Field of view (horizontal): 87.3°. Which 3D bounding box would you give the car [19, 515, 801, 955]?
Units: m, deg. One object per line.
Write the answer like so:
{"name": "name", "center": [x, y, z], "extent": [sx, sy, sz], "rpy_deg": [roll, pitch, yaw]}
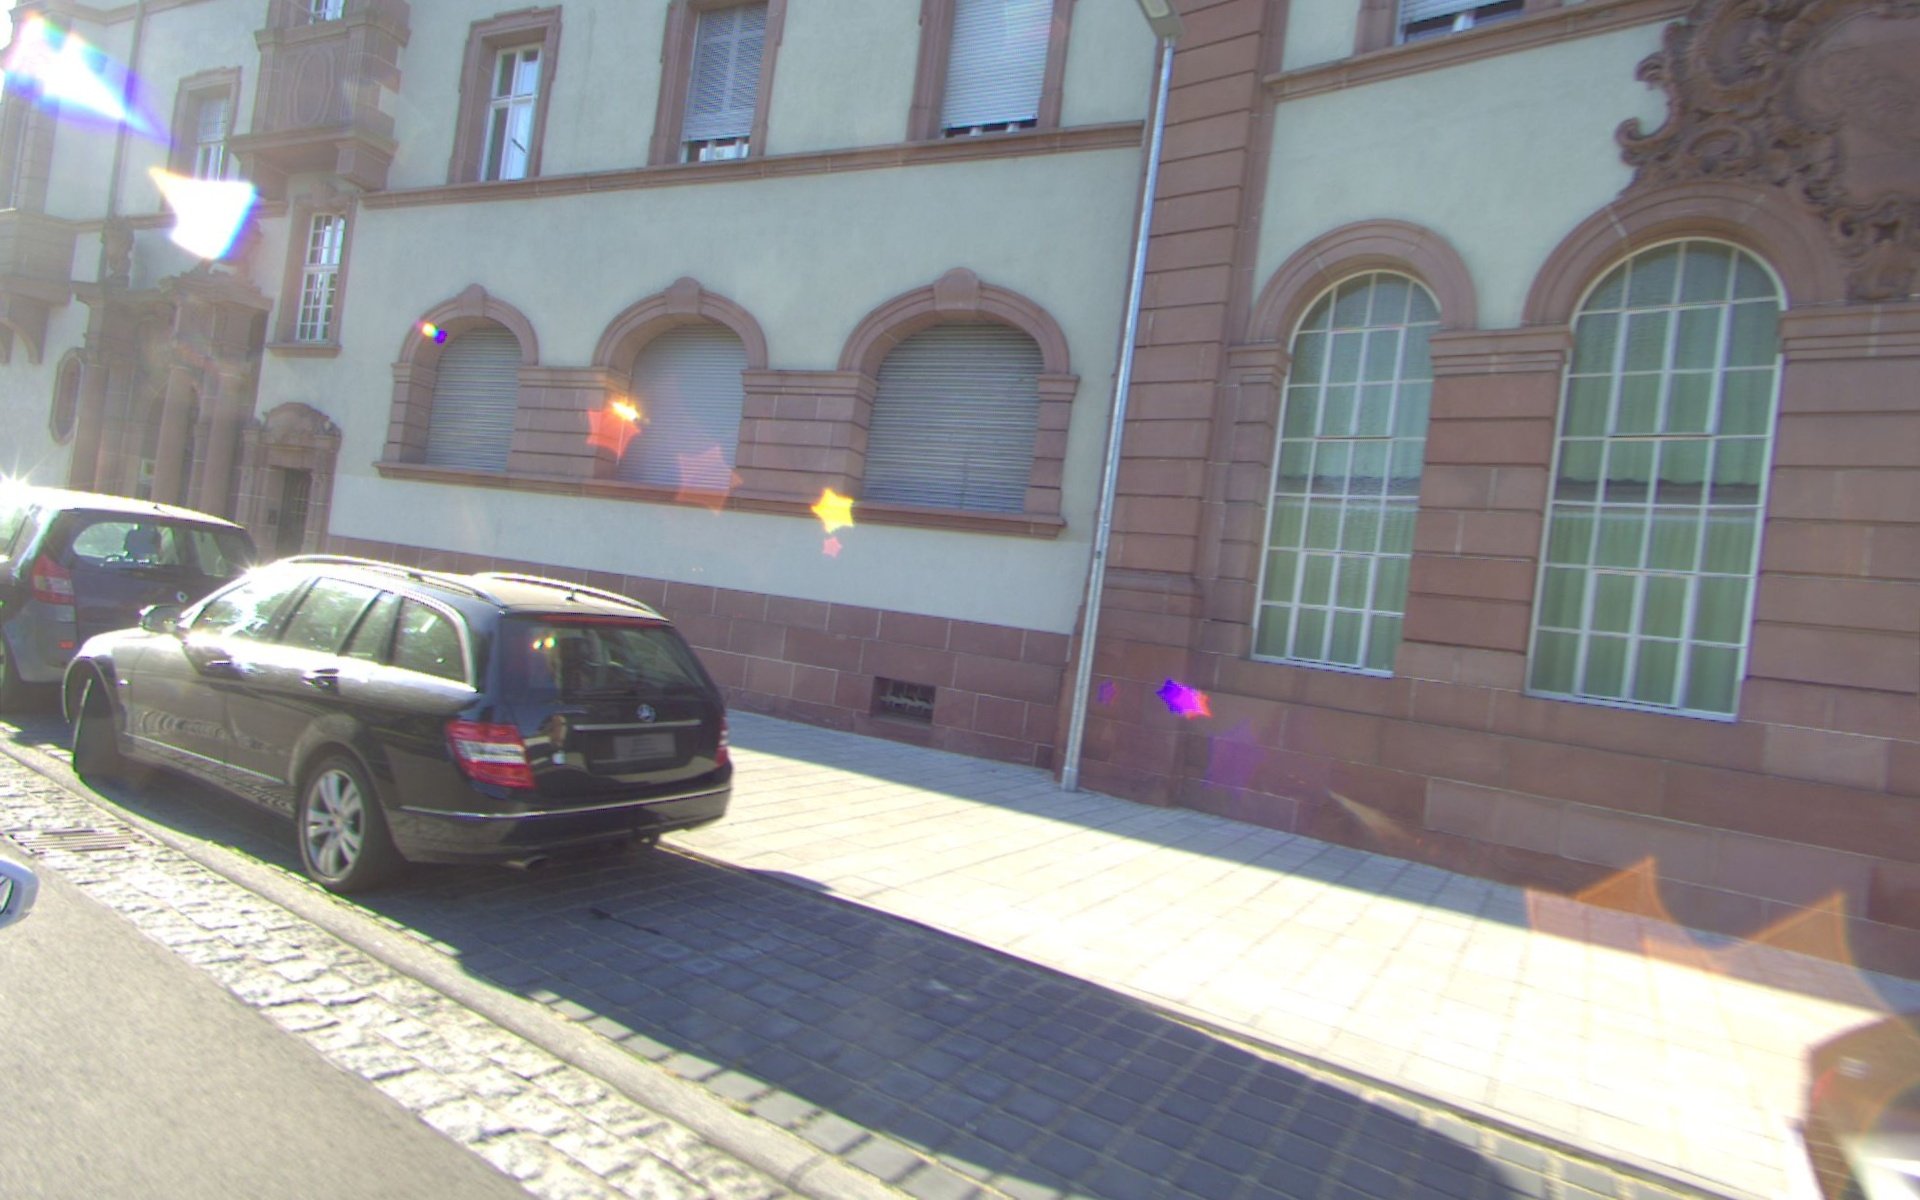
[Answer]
{"name": "car", "center": [-3.320, 0.496, 5.843], "extent": [4.446, 1.454, 1.874], "rpy_deg": [7, 0, 30]}

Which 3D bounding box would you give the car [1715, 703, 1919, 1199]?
{"name": "car", "center": [3.830, 1.243, 1.171], "extent": [4.500, 1.549, 1.769], "rpy_deg": [7, 0, 35]}

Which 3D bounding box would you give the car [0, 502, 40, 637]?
{"name": "car", "center": [-12.273, -0.573, 11.315], "extent": [4.129, 1.420, 1.681], "rpy_deg": [7, 0, 31]}

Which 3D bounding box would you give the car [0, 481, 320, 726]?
{"name": "car", "center": [-7.596, -0.111, 8.543], "extent": [4.121, 1.622, 1.819], "rpy_deg": [7, 0, 29]}
